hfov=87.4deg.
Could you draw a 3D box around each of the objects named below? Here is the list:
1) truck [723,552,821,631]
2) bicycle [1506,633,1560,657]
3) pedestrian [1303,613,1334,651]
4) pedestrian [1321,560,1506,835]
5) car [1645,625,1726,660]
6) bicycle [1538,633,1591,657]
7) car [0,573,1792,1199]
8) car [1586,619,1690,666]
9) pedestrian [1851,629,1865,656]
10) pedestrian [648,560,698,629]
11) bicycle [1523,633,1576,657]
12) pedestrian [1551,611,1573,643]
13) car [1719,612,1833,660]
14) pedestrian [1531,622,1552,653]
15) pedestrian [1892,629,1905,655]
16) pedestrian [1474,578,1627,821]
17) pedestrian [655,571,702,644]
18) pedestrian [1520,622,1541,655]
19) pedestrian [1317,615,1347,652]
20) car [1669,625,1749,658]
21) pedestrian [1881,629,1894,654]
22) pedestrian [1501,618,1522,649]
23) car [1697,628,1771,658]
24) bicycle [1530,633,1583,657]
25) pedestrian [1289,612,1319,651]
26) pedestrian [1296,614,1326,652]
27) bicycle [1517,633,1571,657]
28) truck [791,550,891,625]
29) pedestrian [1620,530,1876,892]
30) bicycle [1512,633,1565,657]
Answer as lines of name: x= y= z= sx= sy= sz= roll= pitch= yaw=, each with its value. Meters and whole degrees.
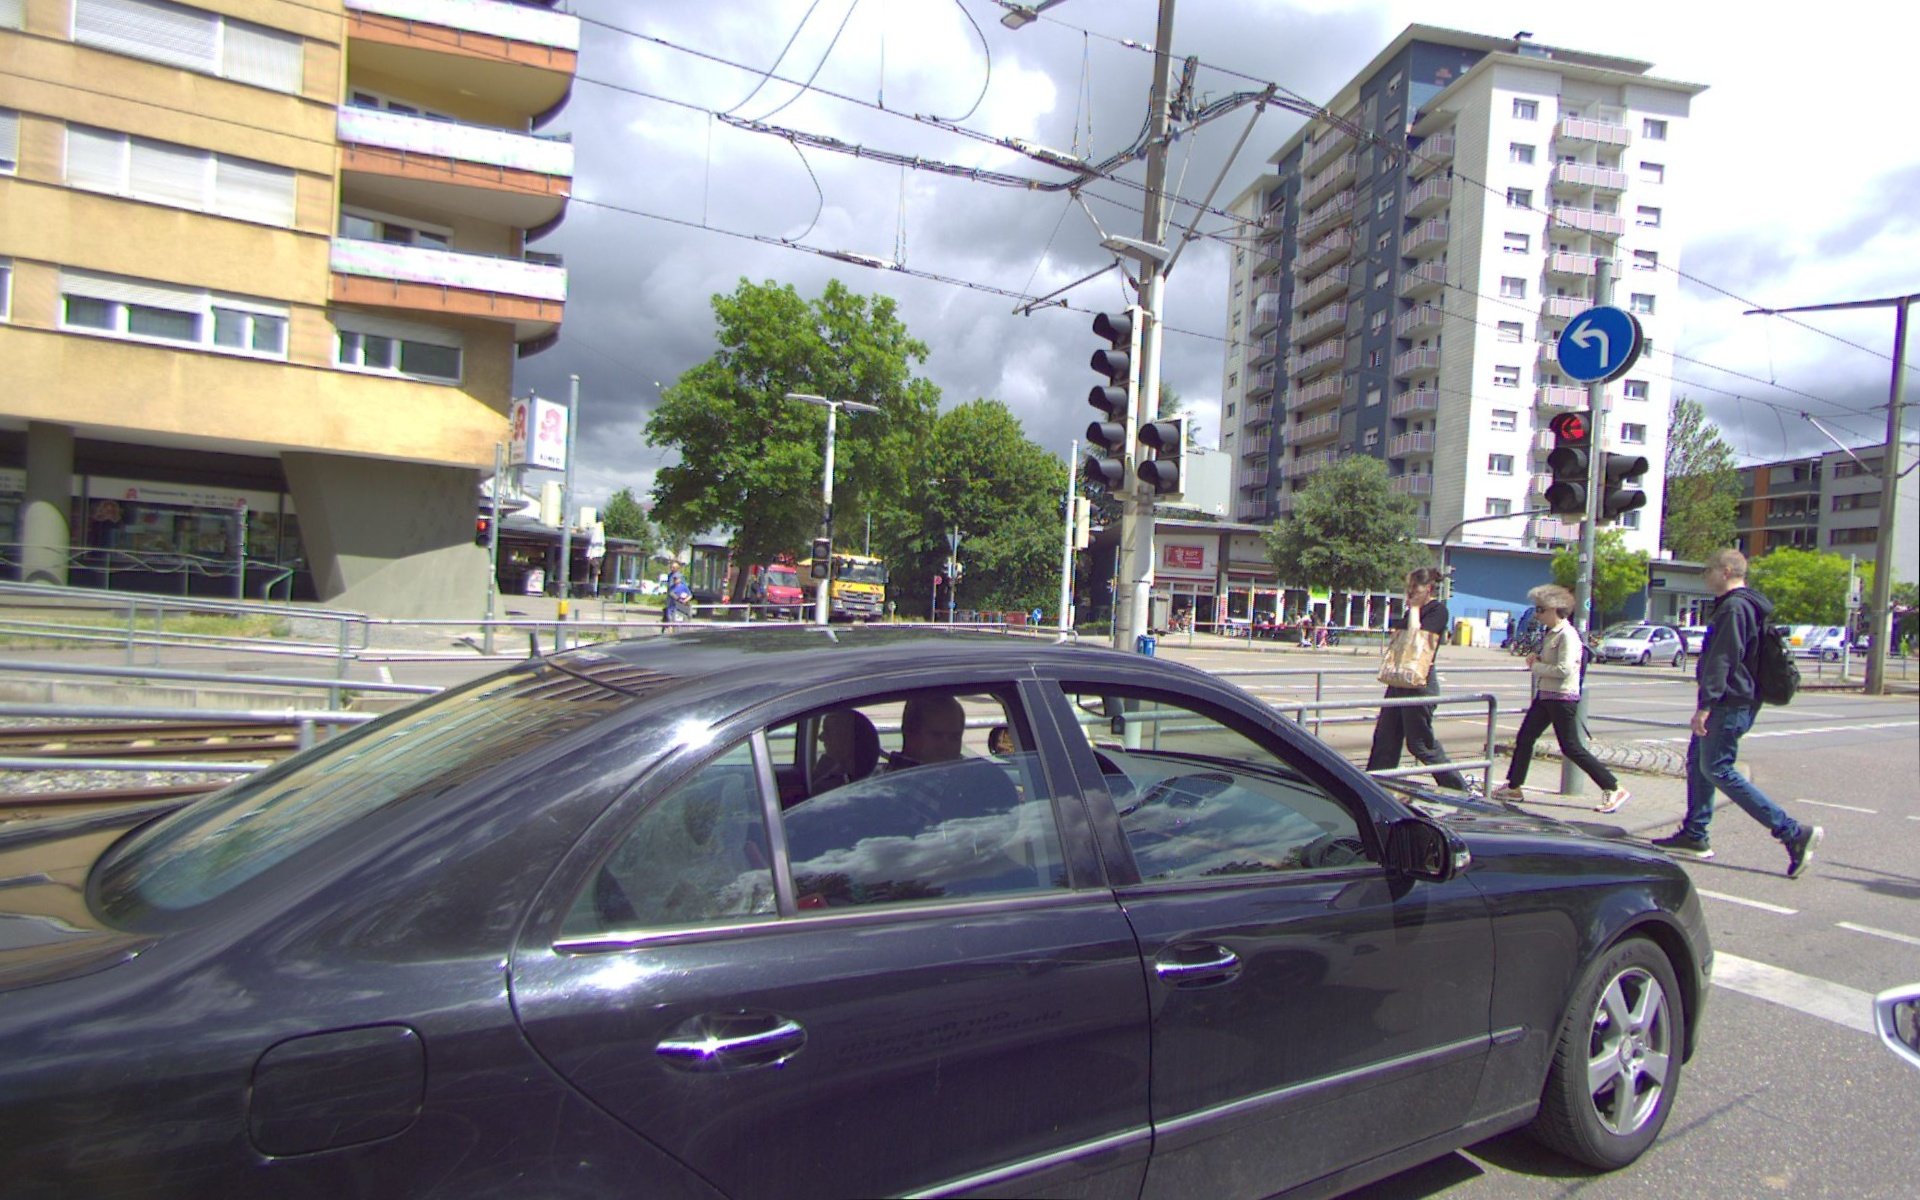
truck: x=-9.036 y=-0.409 z=47.408 sx=2.692 sy=3.320 sz=8.876 roll=2 pitch=0 yaw=-23
bicycle: x=24.097 y=1.883 z=42.252 sx=0.490 sy=0.947 sz=1.933 roll=2 pitch=0 yaw=-35
pedestrian: x=16.113 y=1.430 z=45.166 sx=1.077 sy=1.681 sz=0.948 roll=2 pitch=-1 yaw=9
pedestrian: x=3.209 y=0.633 z=7.135 sx=0.766 sy=1.789 sz=0.925 roll=1 pitch=1 yaw=-41
car: x=37.885 y=2.186 z=52.575 sx=1.921 sy=1.591 sz=4.220 roll=2 pitch=0 yaw=13
bicycle: x=26.247 y=1.961 z=43.661 sx=0.490 sy=0.947 sz=1.933 roll=2 pitch=0 yaw=-35
car: x=0.119 y=0.747 z=2.625 sx=4.491 sy=1.481 sz=1.720 roll=2 pitch=0 yaw=-30
car: x=26.910 y=1.690 z=39.865 sx=3.827 sy=1.715 sz=1.928 roll=2 pitch=0 yaw=-30
pedestrian: x=57.463 y=2.709 z=64.265 sx=0.400 sy=1.739 sz=0.544 roll=1 pitch=0 yaw=-30
pedestrian: x=-7.278 y=-0.129 z=25.486 sx=0.751 sy=1.636 sz=0.780 roll=8 pitch=1 yaw=22
bicycle: x=25.267 y=1.926 z=43.088 sx=0.490 sy=0.947 sz=1.933 roll=2 pitch=0 yaw=-35
pedestrian: x=36.404 y=1.625 z=60.752 sx=0.855 sy=1.942 sz=1.208 roll=2 pitch=1 yaw=43
car: x=47.519 y=2.008 z=58.742 sx=2.776 sy=2.511 sz=6.724 roll=2 pitch=0 yaw=17
pedestrian: x=31.642 y=2.018 z=54.651 sx=0.693 sy=1.637 sz=0.760 roll=1 pitch=0 yaw=-43
pedestrian: x=65.670 y=2.936 z=70.268 sx=0.663 sy=1.739 sz=0.542 roll=1 pitch=0 yaw=-40
pedestrian: x=4.476 y=0.702 z=7.642 sx=0.939 sy=1.696 sz=0.869 roll=1 pitch=-1 yaw=31
pedestrian: x=-6.618 y=0.158 z=23.612 sx=0.775 sy=1.638 sz=0.755 roll=-2 pitch=6 yaw=-45
pedestrian: x=29.635 y=1.992 z=52.195 sx=0.693 sy=1.637 sz=0.759 roll=1 pitch=0 yaw=-44
pedestrian: x=17.317 y=1.562 z=46.736 sx=0.977 sy=1.681 sz=0.969 roll=2 pitch=-1 yaw=-4
car: x=40.522 y=2.201 z=54.473 sx=1.921 sy=1.558 sz=4.220 roll=2 pitch=0 yaw=13
pedestrian: x=64.882 y=2.881 z=70.264 sx=0.401 sy=1.739 sz=0.542 roll=1 pitch=0 yaw=-39
pedestrian: x=29.343 y=1.773 z=53.482 sx=0.693 sy=1.637 sz=0.760 roll=1 pitch=0 yaw=-42
car: x=43.320 y=2.380 z=56.332 sx=1.754 sy=1.439 sz=4.219 roll=2 pitch=0 yaw=15
bicycle: x=25.729 y=1.942 z=43.367 sx=0.490 sy=0.947 sz=1.933 roll=2 pitch=0 yaw=-35
pedestrian: x=15.210 y=1.396 z=44.392 sx=1.077 sy=1.681 sz=0.948 roll=2 pitch=-1 yaw=9
pedestrian: x=16.249 y=1.526 z=46.484 sx=0.977 sy=1.681 sz=0.969 roll=2 pitch=-1 yaw=-4
bicycle: x=24.882 y=1.912 z=42.815 sx=0.490 sy=0.947 sz=1.933 roll=2 pitch=0 yaw=-35
truck: x=-5.834 y=-0.557 z=47.975 sx=2.733 sy=3.244 sz=7.442 roll=2 pitch=0 yaw=-23
pedestrian: x=4.760 y=0.603 z=6.094 sx=0.888 sy=1.968 sz=0.960 roll=1 pitch=1 yaw=-34
bicycle: x=24.472 y=1.897 z=42.524 sx=0.490 sy=0.947 sz=1.933 roll=2 pitch=0 yaw=-35
